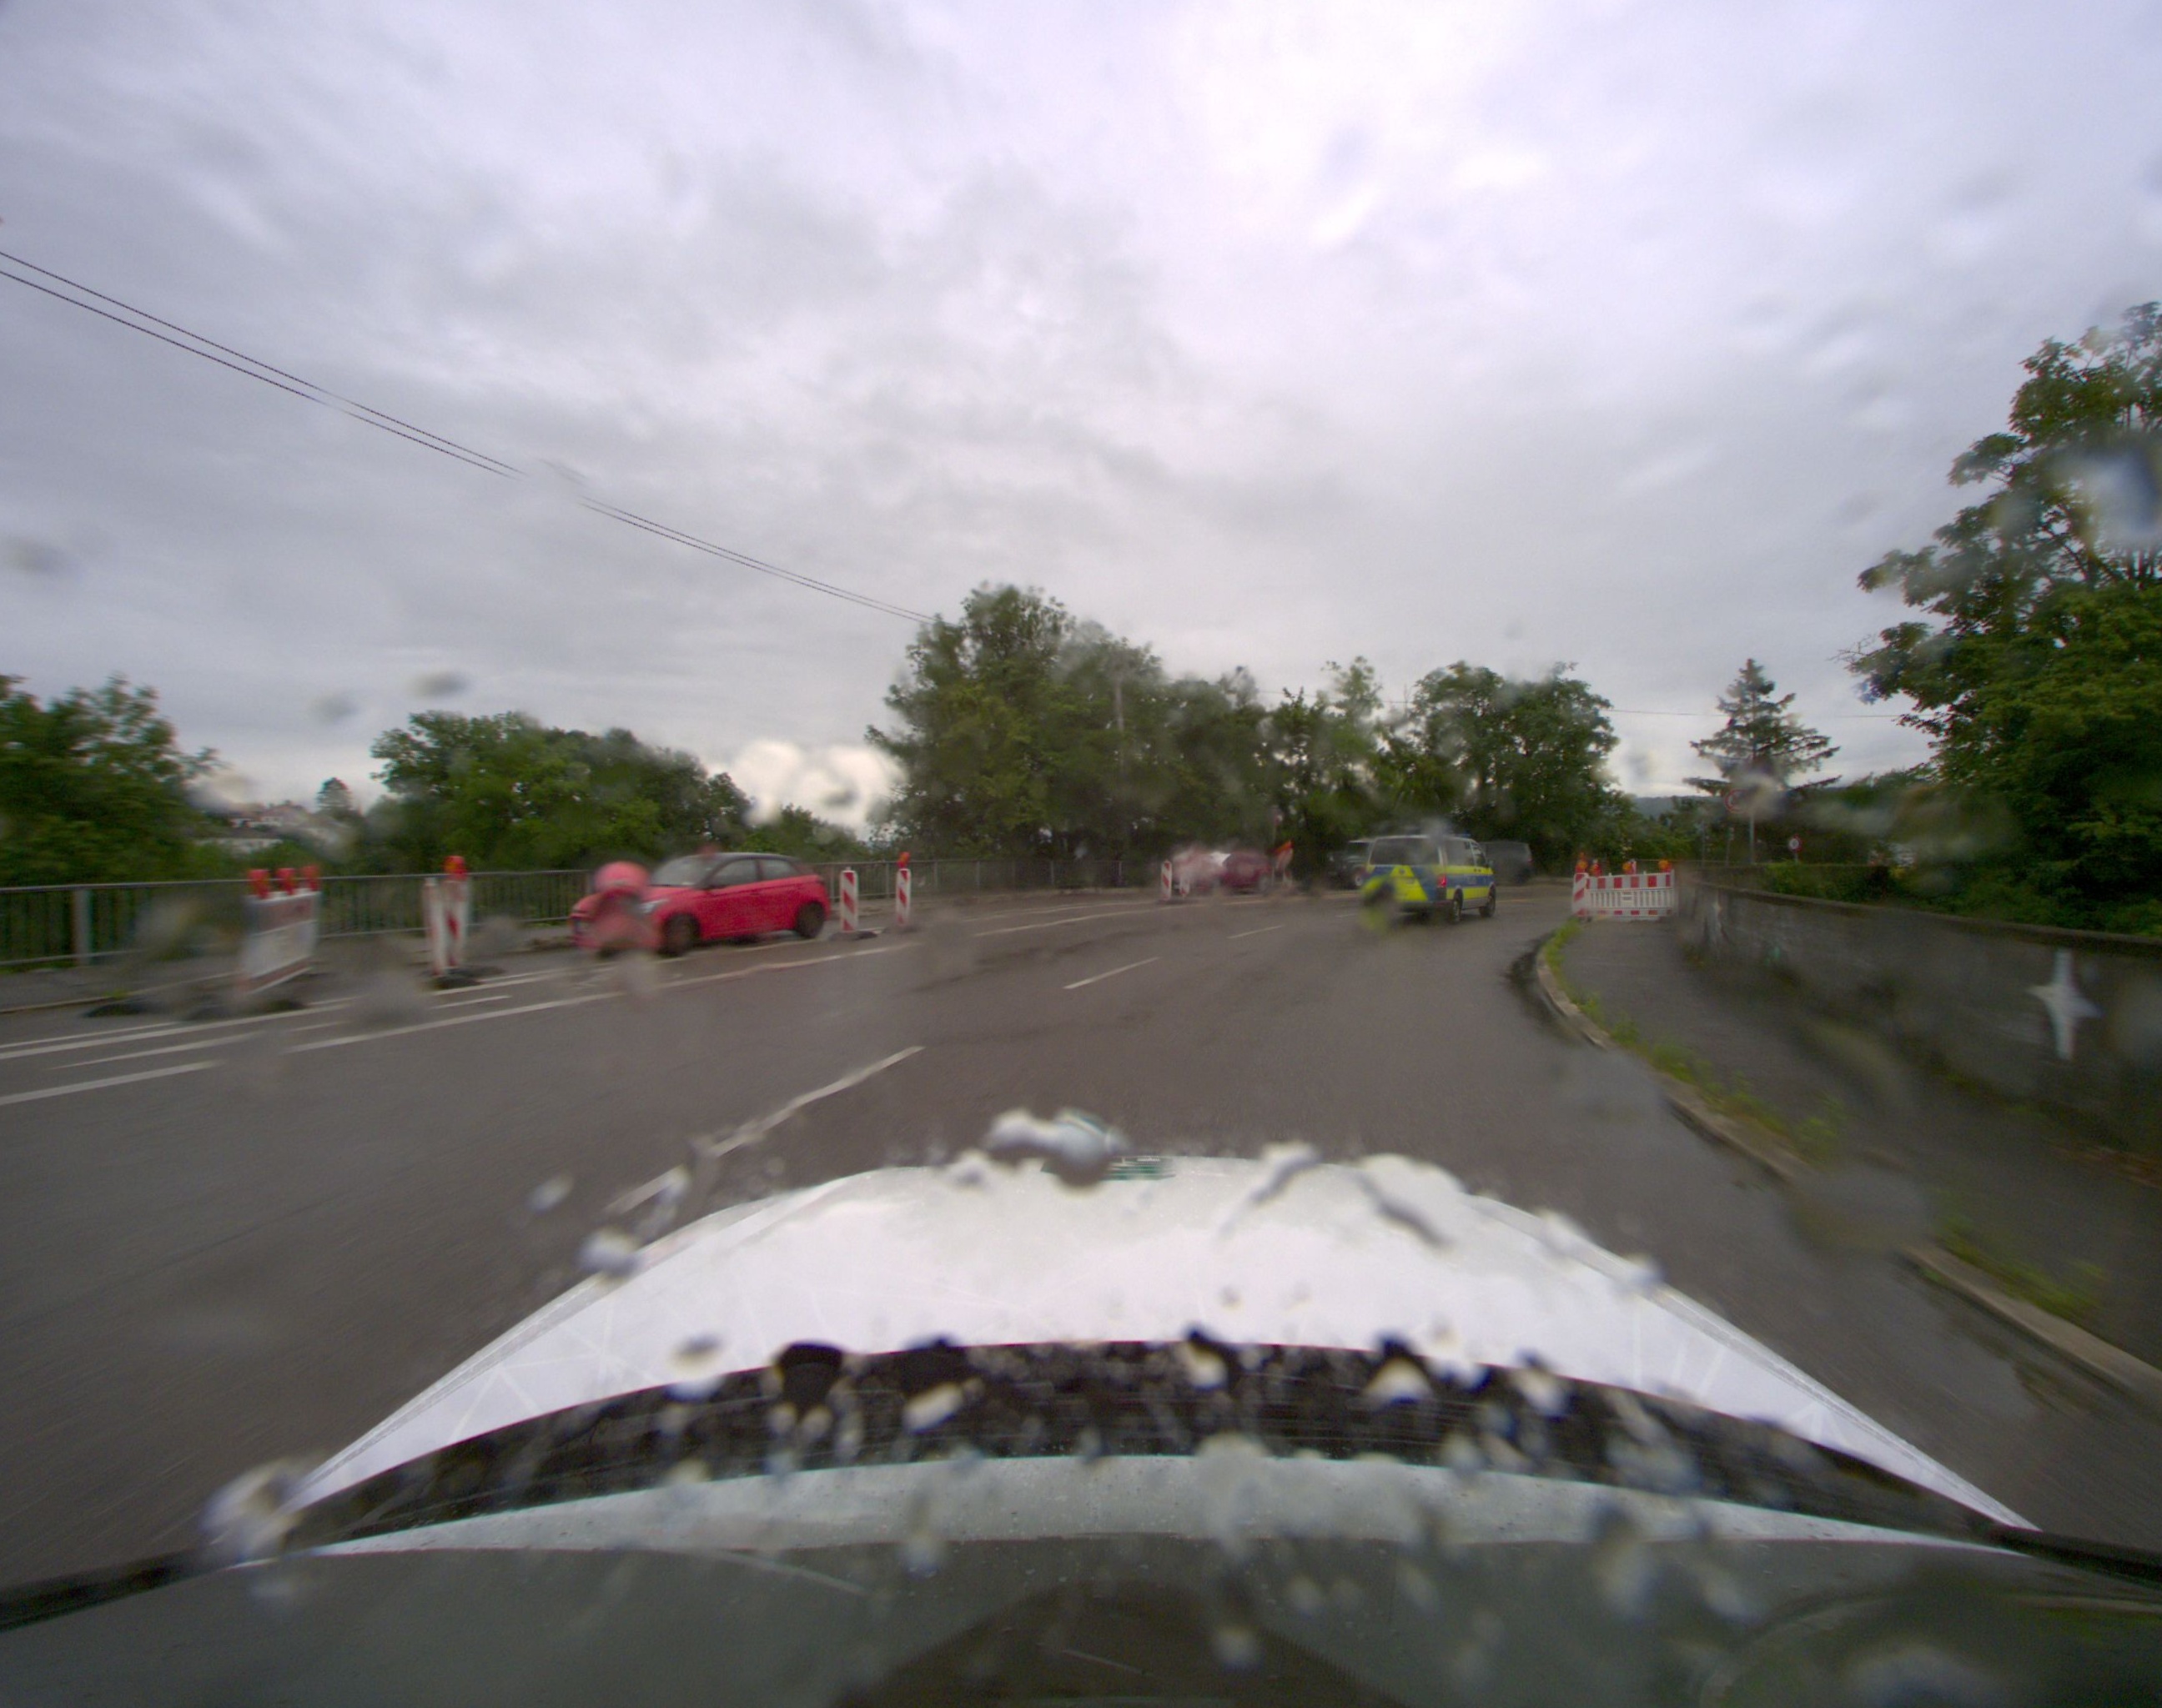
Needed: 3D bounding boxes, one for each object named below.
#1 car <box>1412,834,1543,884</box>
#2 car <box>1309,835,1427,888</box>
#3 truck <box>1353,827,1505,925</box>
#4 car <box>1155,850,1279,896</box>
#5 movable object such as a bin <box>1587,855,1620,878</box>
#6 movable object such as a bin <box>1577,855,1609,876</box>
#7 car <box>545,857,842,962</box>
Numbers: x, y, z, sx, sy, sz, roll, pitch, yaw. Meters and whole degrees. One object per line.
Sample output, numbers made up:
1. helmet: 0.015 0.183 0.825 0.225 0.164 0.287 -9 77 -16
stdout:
1. car: 17.077 0.220 35.132 4.939 2.013 1.991 1 2 -14
2. car: 11.786 0.257 33.340 4.827 2.013 1.854 0 2 -30
3. truck: 8.346 0.477 19.270 1.974 2.014 4.764 -1 -1 40
4. car: 4.812 0.598 28.447 4.345 1.440 1.943 -1 1 -40
5. movable object such as a bin: 26.213 0.631 40.888 1.019 1.106 0.990 1 0 4
6. movable object such as a bin: 26.352 0.587 41.936 1.019 1.106 0.990 0 0 4
7. car: -5.939 0.762 13.073 1.670 1.398 4.160 -1 -1 26
